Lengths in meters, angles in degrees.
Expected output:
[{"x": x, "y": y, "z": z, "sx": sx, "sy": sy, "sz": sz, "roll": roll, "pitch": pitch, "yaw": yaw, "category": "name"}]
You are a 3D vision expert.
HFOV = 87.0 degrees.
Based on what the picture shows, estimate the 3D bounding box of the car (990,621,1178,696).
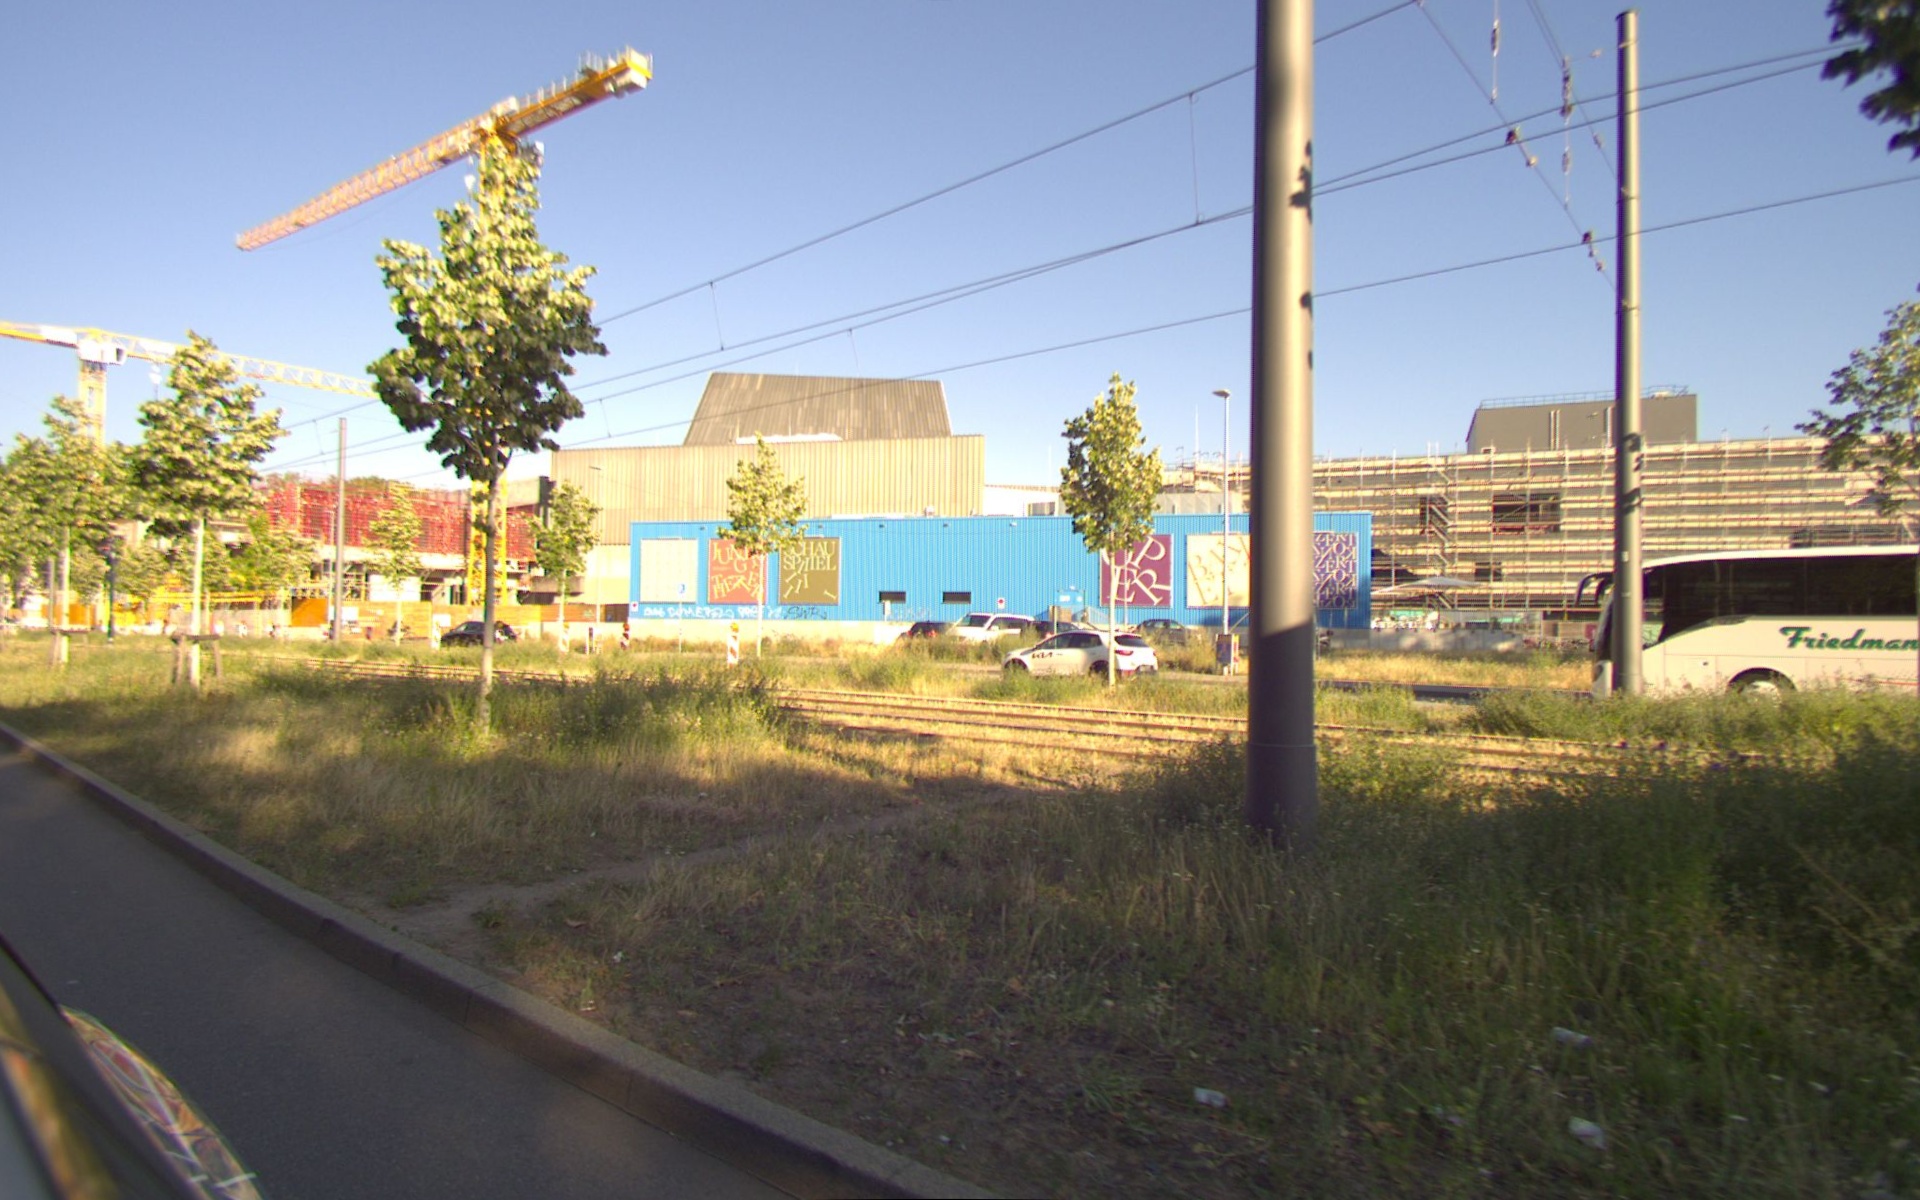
[{"x": 2.956, "y": 1.348, "z": 24.528, "sx": 4.165, "sy": 1.655, "sz": 1.973, "roll": -1, "pitch": -2, "yaw": 41, "category": "car"}]

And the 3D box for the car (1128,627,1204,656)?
[{"x": 11.883, "y": 2.379, "z": 58.418, "sx": 4.187, "sy": 1.648, "sz": 1.405, "roll": 0, "pitch": -2, "yaw": 16, "category": "car"}]

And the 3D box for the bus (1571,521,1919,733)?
[{"x": 18.224, "y": 0.483, "z": 17.627, "sx": 12.692, "sy": 3.622, "sz": 2.770, "roll": -1, "pitch": -2, "yaw": 41, "category": "bus"}]

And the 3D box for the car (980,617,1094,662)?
[{"x": 3.243, "y": 1.625, "z": 41.678, "sx": 2.123, "sy": 1.730, "sz": 5.174, "roll": -1, "pitch": -2, "yaw": 39, "category": "car"}]

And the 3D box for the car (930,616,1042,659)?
[{"x": 1.206, "y": 1.609, "z": 43.571, "sx": 2.123, "sy": 1.730, "sz": 5.174, "roll": -1, "pitch": -2, "yaw": 39, "category": "car"}]

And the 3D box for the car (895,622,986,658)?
[{"x": -0.824, "y": 1.766, "z": 45.003, "sx": 1.998, "sy": 1.496, "sz": 3.947, "roll": -1, "pitch": -2, "yaw": 39, "category": "car"}]

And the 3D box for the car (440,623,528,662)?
[{"x": -21.636, "y": 1.912, "z": 45.933, "sx": 4.267, "sy": 1.663, "sz": 1.973, "roll": -1, "pitch": -3, "yaw": 40, "category": "car"}]
